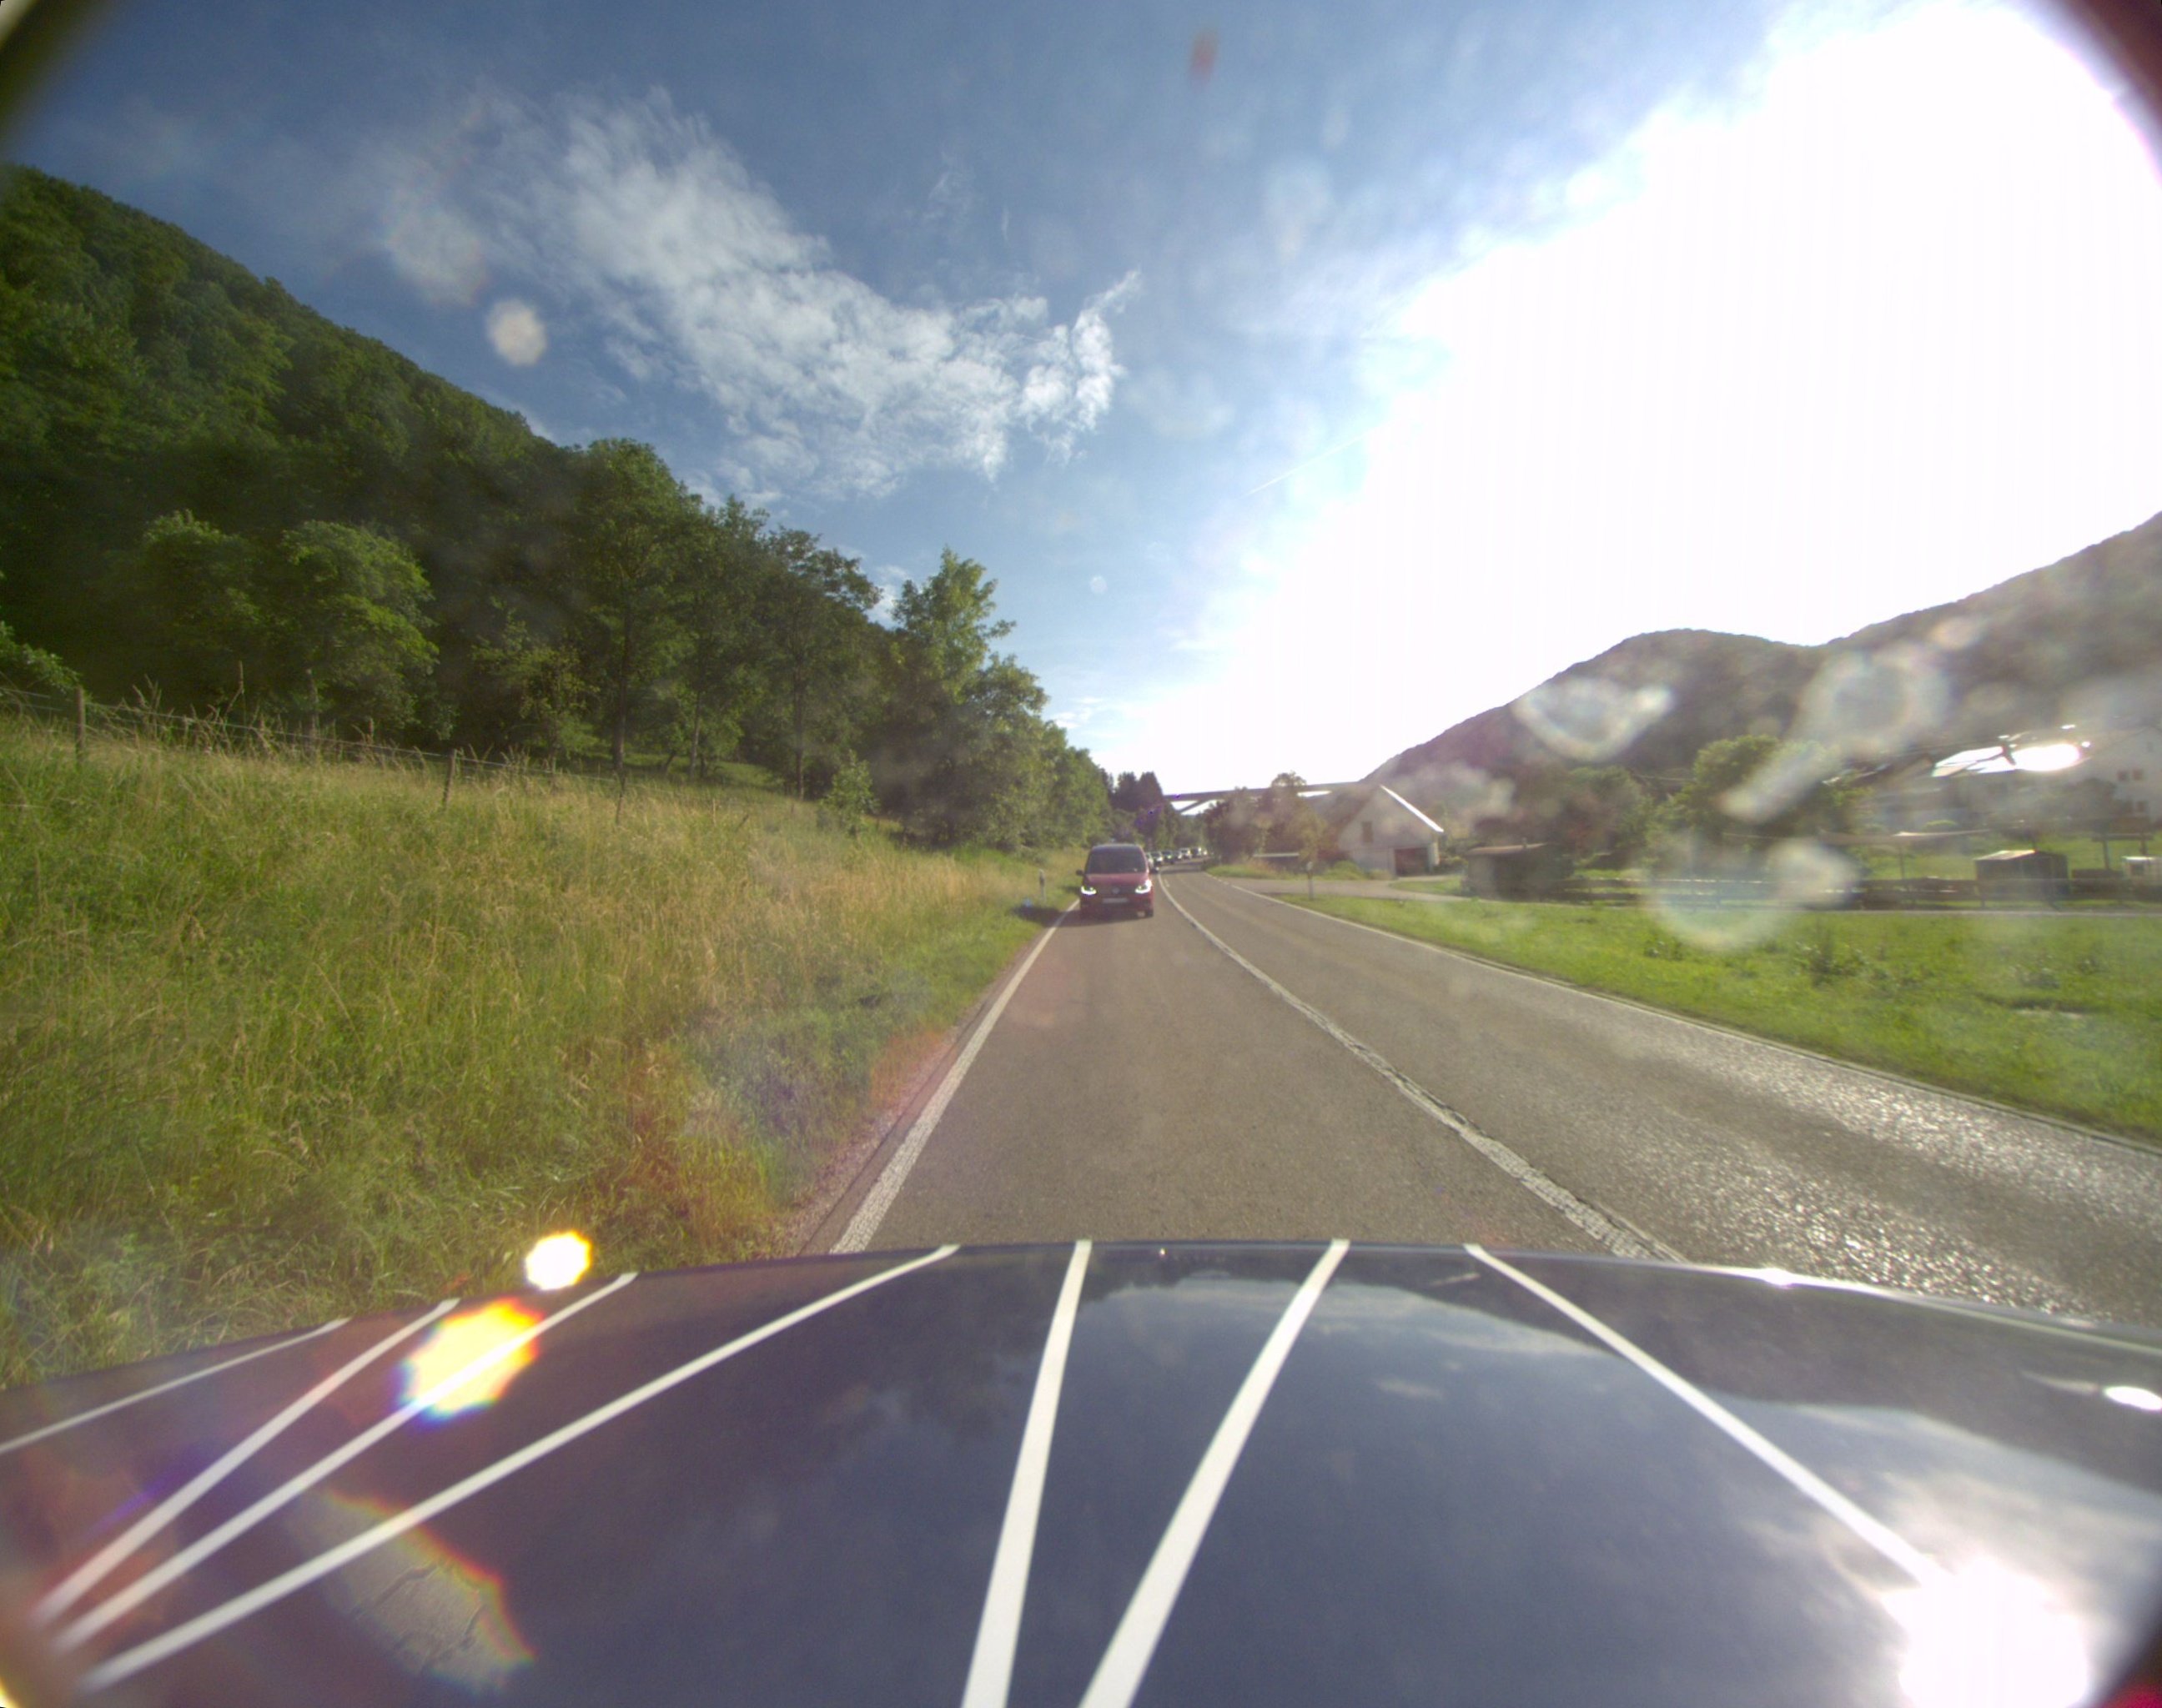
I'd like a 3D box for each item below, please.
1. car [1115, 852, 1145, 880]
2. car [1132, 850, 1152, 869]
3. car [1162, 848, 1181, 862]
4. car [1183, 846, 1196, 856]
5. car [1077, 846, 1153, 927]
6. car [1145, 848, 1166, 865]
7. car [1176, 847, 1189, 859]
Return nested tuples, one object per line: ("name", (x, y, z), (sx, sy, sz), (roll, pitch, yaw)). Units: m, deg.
("car", (2.873, 0.652, 44.325), (1.629, 1.470, 3.680), (-2, 1, 4))
("car", (5.187, 0.446, 64.944), (1.629, 1.470, 3.680), (-2, 1, 4))
("car", (10.158, 0.059, 85.689), (1.630, 1.470, 3.679), (-2, 1, 0))
("car", (16.502, -0.495, 115.881), (1.630, 1.470, 3.680), (-2, 1, 3))
("car", (0.786, 0.706, 19.107), (1.649, 1.762, 3.999), (-2, 1, 0))
("car", (7.198, 0.216, 73.560), (1.630, 1.470, 3.679), (-2, 1, 0))
("car", (13.497, -0.131, 101.398), (1.629, 1.470, 3.681), (-2, 1, 8))
